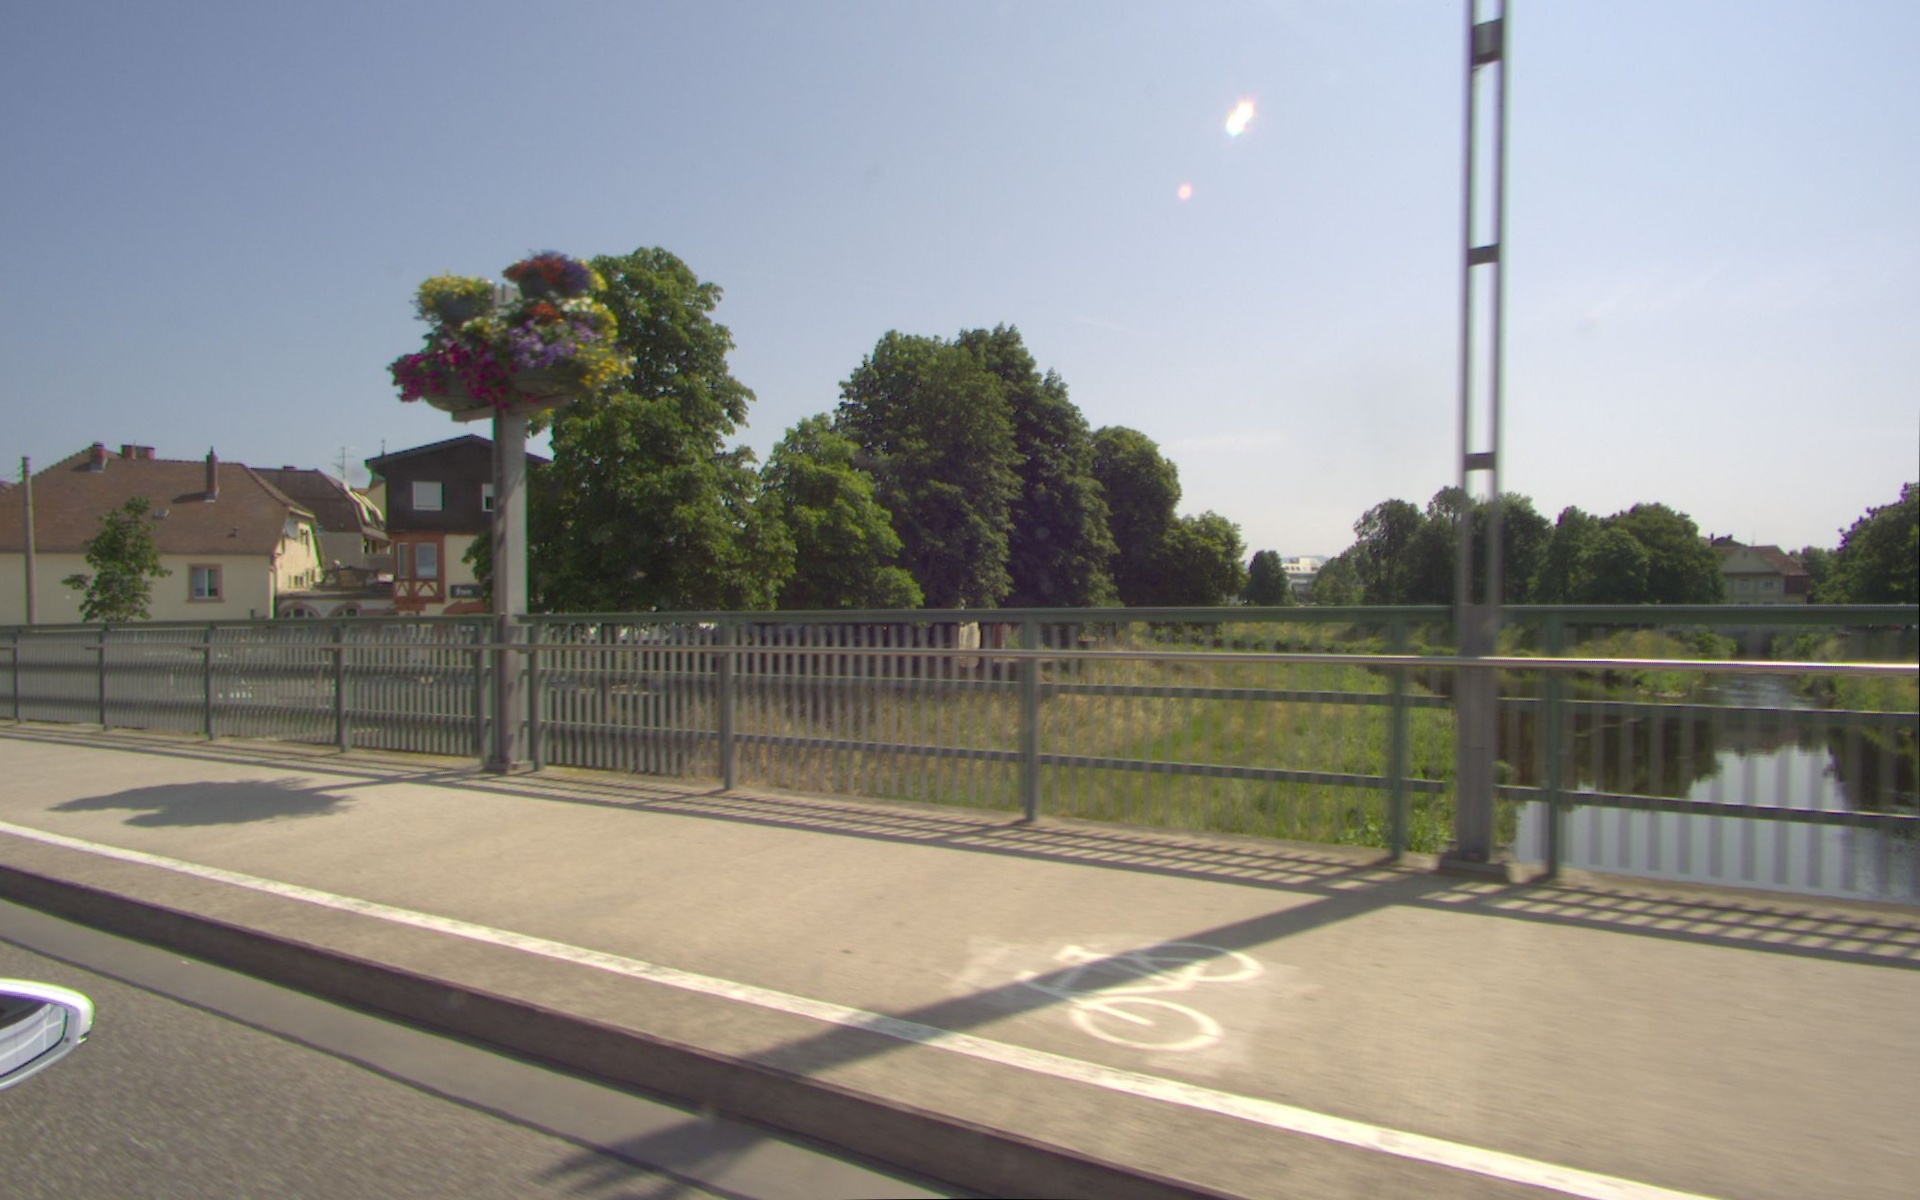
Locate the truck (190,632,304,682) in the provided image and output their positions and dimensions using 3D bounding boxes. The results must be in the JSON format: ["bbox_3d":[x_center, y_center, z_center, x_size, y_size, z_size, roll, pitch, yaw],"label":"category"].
[{"bbox_3d":[-33.145,2.638,46.681,4.008,2.243,1.806,1,-1,-27],"label":"truck"}]

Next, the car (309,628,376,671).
[{"bbox_3d":[-30.309,2.394,49.266,1.632,2.039,3.995,1,-1,-14],"label":"car"}]

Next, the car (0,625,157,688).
[{"bbox_3d":[-39.063,2.416,43.978,5.548,2.662,2.232,1,-1,-28],"label":"car"}]
